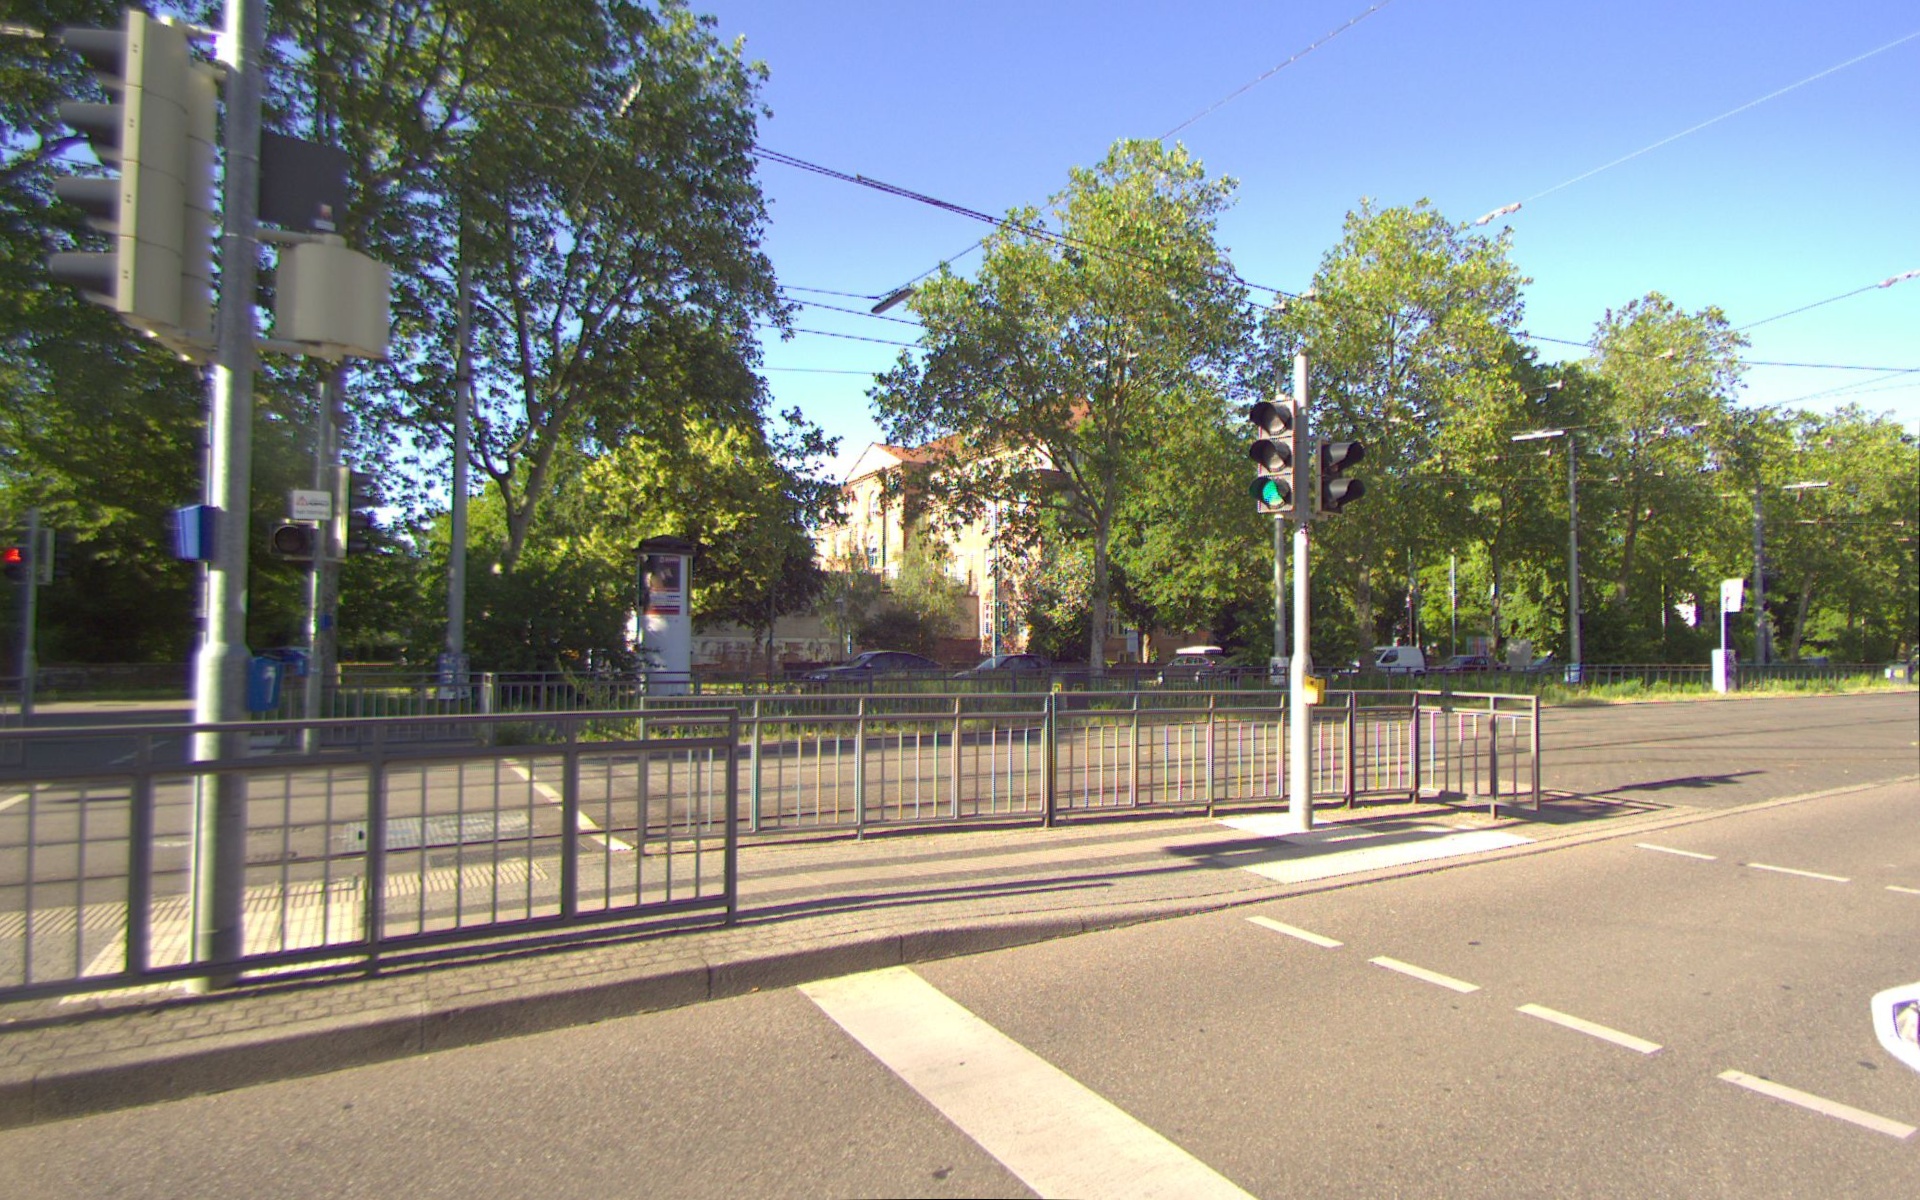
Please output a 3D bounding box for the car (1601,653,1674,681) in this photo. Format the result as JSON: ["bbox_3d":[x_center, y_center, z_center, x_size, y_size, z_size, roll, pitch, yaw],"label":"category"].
[{"bbox_3d":[39.063,3.870,57.897,4.232,1.529,1.926,3,-3,-32],"label":"car"}]

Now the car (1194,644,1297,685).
[{"bbox_3d":[11.365,2.547,39.939,4.099,1.529,1.660,2,-2,-32],"label":"car"}]

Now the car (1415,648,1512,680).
[{"bbox_3d":[23.962,3.053,47.739,4.796,1.366,1.926,3,-3,-32],"label":"car"}]

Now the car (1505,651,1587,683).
[{"bbox_3d":[30.384,3.467,52.065,4.232,1.529,1.926,3,-3,-32],"label":"car"}]

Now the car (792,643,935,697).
[{"bbox_3d":[-2.948,2.108,30.887,4.099,1.529,1.660,2,-2,-32],"label":"car"}]

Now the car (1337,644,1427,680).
[{"bbox_3d":[18.793,2.731,44.705,4.099,1.529,1.660,2,-2,-32],"label":"car"}]

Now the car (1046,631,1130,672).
[{"bbox_3d":[6.612,2.668,51.889,3.954,2.040,1.984,2,-2,-31],"label":"car"}]

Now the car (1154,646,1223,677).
[{"bbox_3d":[12.057,3.239,53.218,1.375,1.514,3.974,1,-2,-26],"label":"car"}]

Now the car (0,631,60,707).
[{"bbox_3d":[-20.865,1.354,19.990,4.099,1.529,1.660,2,-3,-32],"label":"car"}]
